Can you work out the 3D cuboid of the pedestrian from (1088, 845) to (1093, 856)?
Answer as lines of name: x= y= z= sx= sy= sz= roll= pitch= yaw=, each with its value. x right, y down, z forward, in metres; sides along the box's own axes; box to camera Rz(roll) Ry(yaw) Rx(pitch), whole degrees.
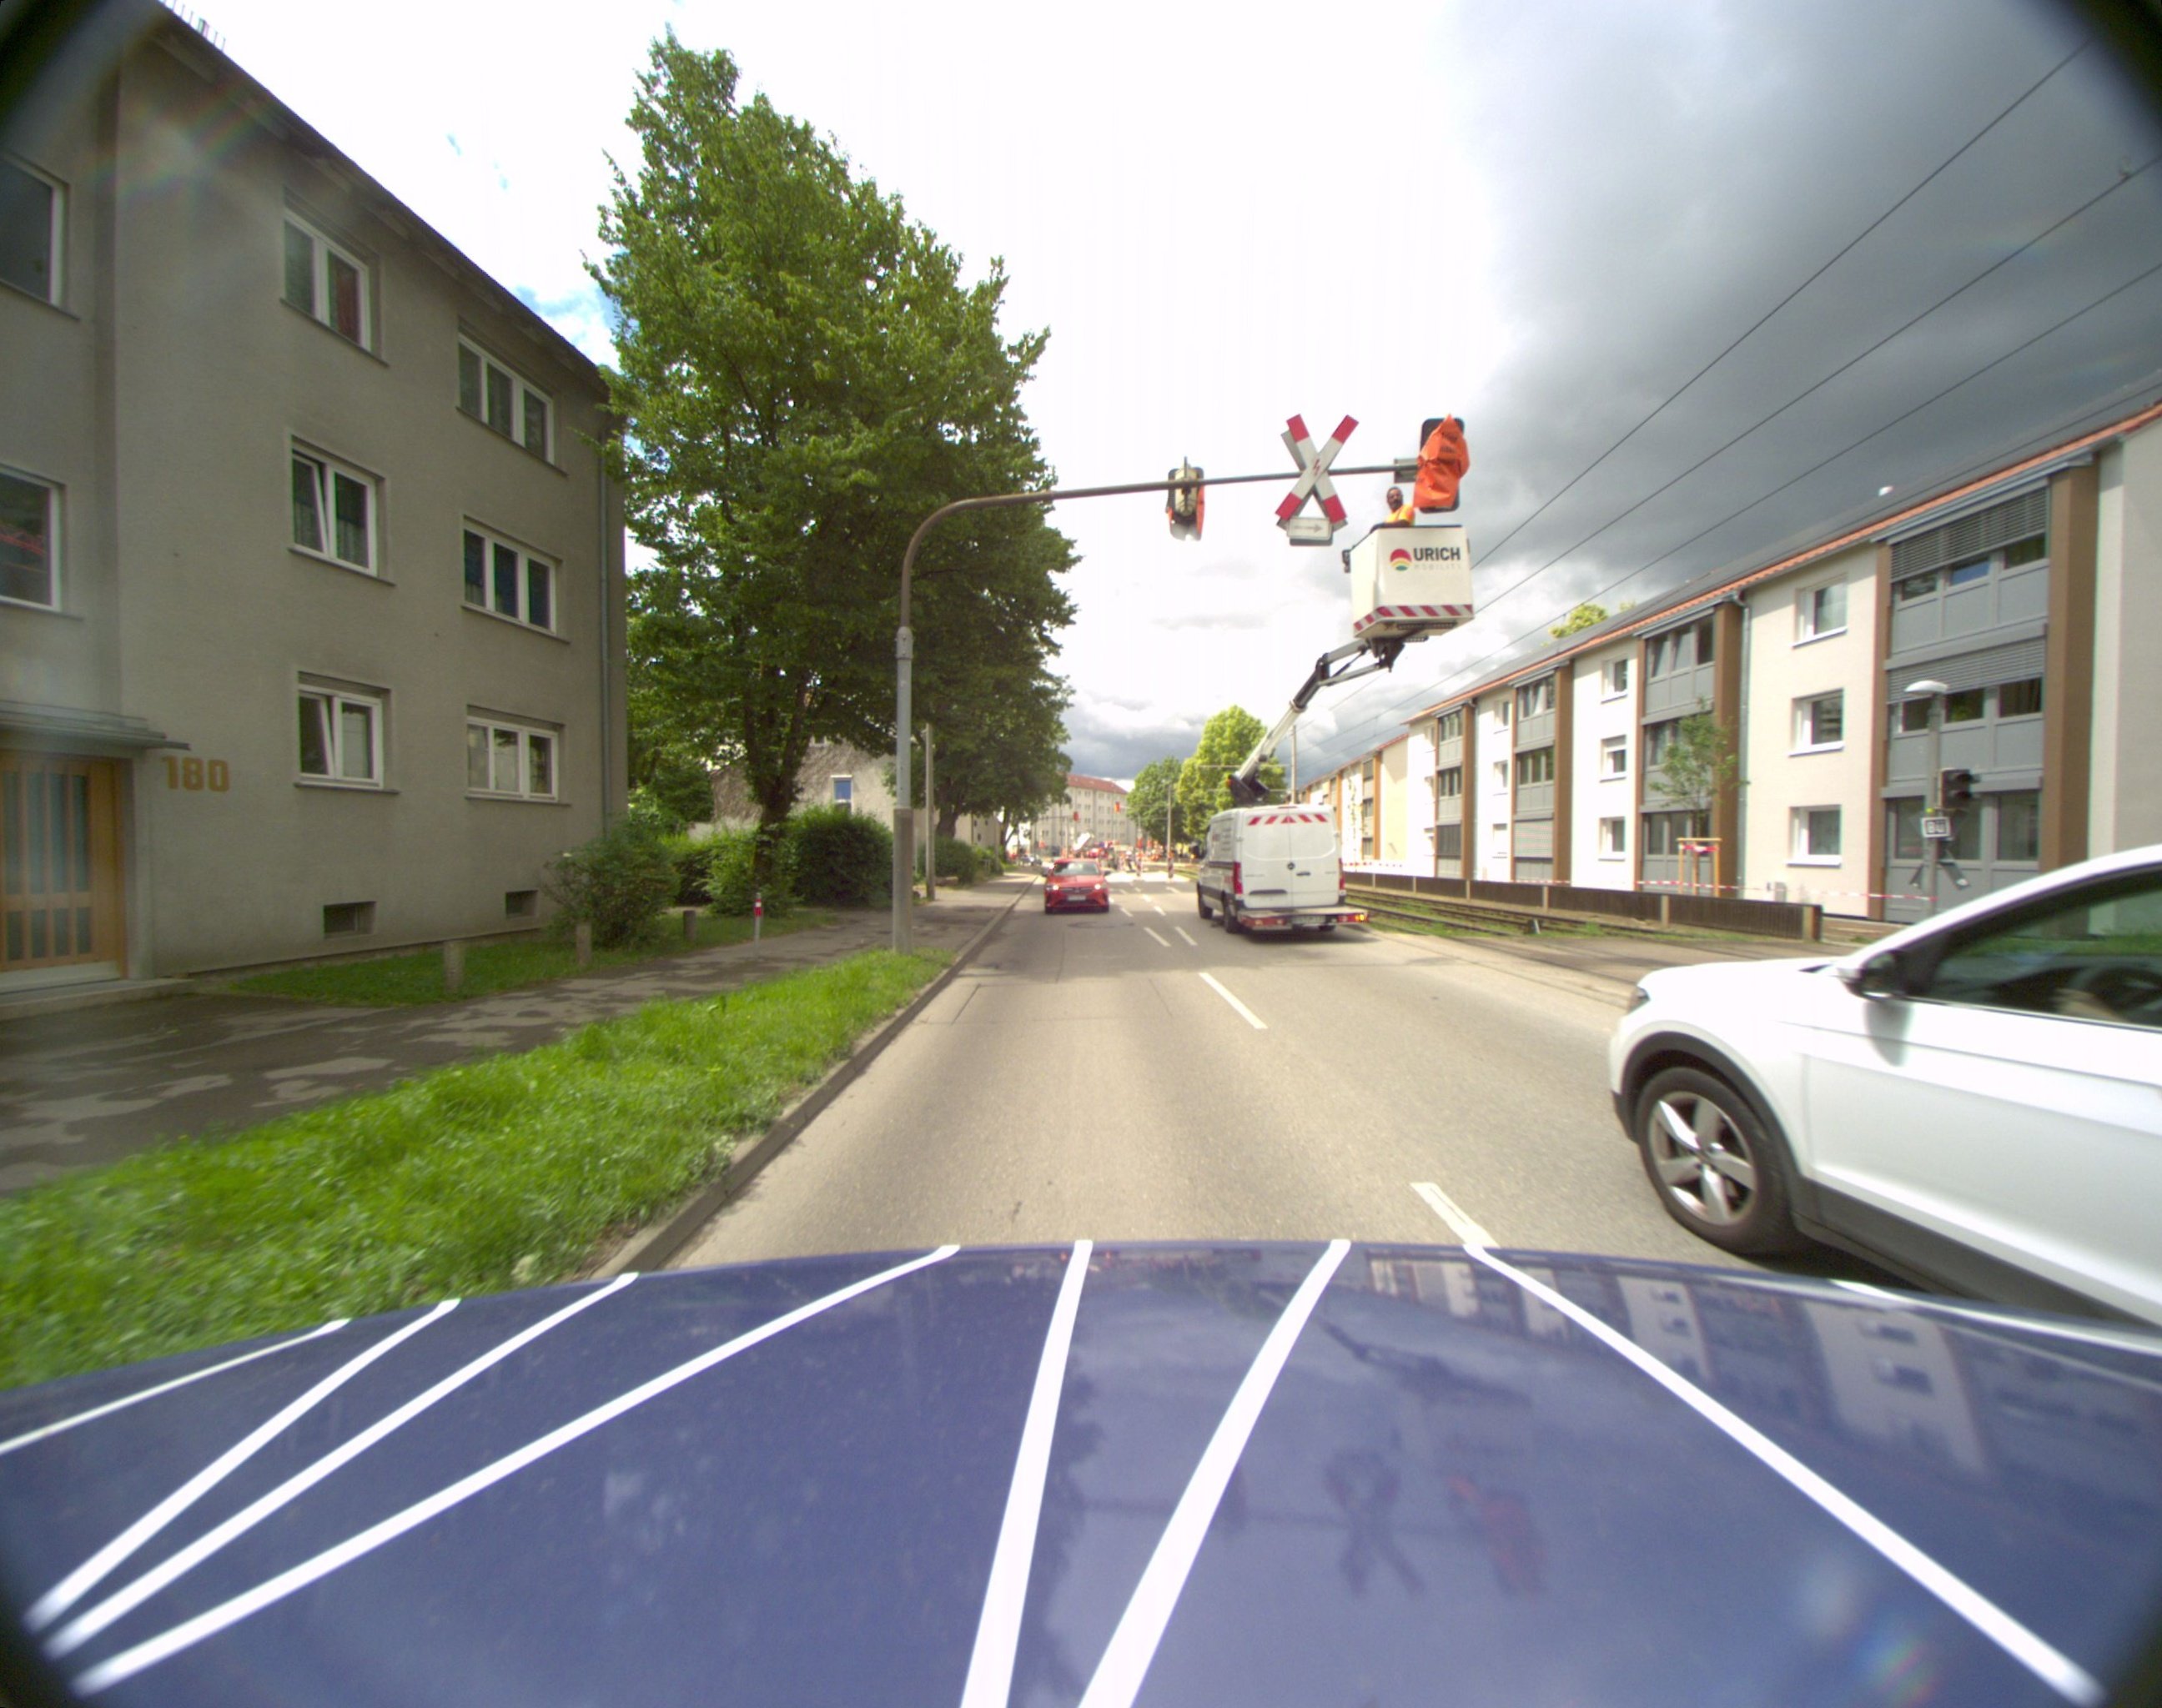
pedestrian: x=1.538 y=-0.594 z=122.895 sx=0.611 sy=1.778 sz=0.583 roll=-1 pitch=0 yaw=30

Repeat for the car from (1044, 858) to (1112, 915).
car: x=-0.050 y=0.874 z=22.126 sx=1.769 sy=1.425 sz=3.838 roll=-2 pitch=1 yaw=1

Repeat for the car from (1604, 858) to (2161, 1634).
car: x=3.075 y=0.827 z=1.308 sx=1.722 sy=1.543 sz=3.917 roll=-1 pitch=1 yaw=2

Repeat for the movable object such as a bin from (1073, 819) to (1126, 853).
movable object such as a bin: x=3.137 y=-2.941 z=126.528 sx=9.053 sy=5.453 sz=2.813 roll=0 pitch=1 yaw=-36

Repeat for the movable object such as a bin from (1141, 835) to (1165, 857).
movable object such as a bin: x=15.257 y=-1.605 z=161.481 sx=2.819 sy=4.509 sz=6.222 roll=1 pitch=0 yaw=29

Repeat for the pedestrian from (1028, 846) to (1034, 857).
pedestrian: x=-8.180 y=-0.409 z=123.860 sx=0.767 sy=1.829 sz=0.785 roll=1 pitch=1 yaw=24

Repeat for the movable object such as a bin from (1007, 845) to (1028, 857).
movable object such as a bin: x=-10.438 y=-0.469 z=125.092 sx=2.959 sy=2.002 sz=2.004 roll=1 pitch=1 yaw=36

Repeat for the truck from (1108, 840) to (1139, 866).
truck: x=4.455 y=-0.102 z=81.252 sx=2.669 sy=2.709 sz=6.393 roll=-1 pitch=0 yaw=-2

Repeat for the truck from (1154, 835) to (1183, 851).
truck: x=13.893 y=-1.746 z=120.297 sx=2.412 sy=2.553 sz=5.594 roll=1 pitch=1 yaw=31

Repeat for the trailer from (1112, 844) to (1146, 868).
trailer: x=4.696 y=0.206 z=74.950 sx=2.669 sy=2.201 sz=6.246 roll=-1 pitch=0 yaw=-2

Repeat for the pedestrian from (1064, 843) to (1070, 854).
pedestrian: x=-2.437 y=-0.954 z=131.185 sx=0.882 sy=1.897 sz=0.665 roll=-1 pitch=2 yaw=-29

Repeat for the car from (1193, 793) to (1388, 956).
car: x=3.627 y=0.298 z=14.617 sx=1.998 sy=2.416 sz=6.321 roll=-1 pitch=0 yaw=0

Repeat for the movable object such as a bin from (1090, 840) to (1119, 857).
movable object such as a bin: x=3.741 y=-0.896 z=121.150 sx=2.110 sy=2.654 sz=5.598 roll=1 pitch=2 yaw=32
